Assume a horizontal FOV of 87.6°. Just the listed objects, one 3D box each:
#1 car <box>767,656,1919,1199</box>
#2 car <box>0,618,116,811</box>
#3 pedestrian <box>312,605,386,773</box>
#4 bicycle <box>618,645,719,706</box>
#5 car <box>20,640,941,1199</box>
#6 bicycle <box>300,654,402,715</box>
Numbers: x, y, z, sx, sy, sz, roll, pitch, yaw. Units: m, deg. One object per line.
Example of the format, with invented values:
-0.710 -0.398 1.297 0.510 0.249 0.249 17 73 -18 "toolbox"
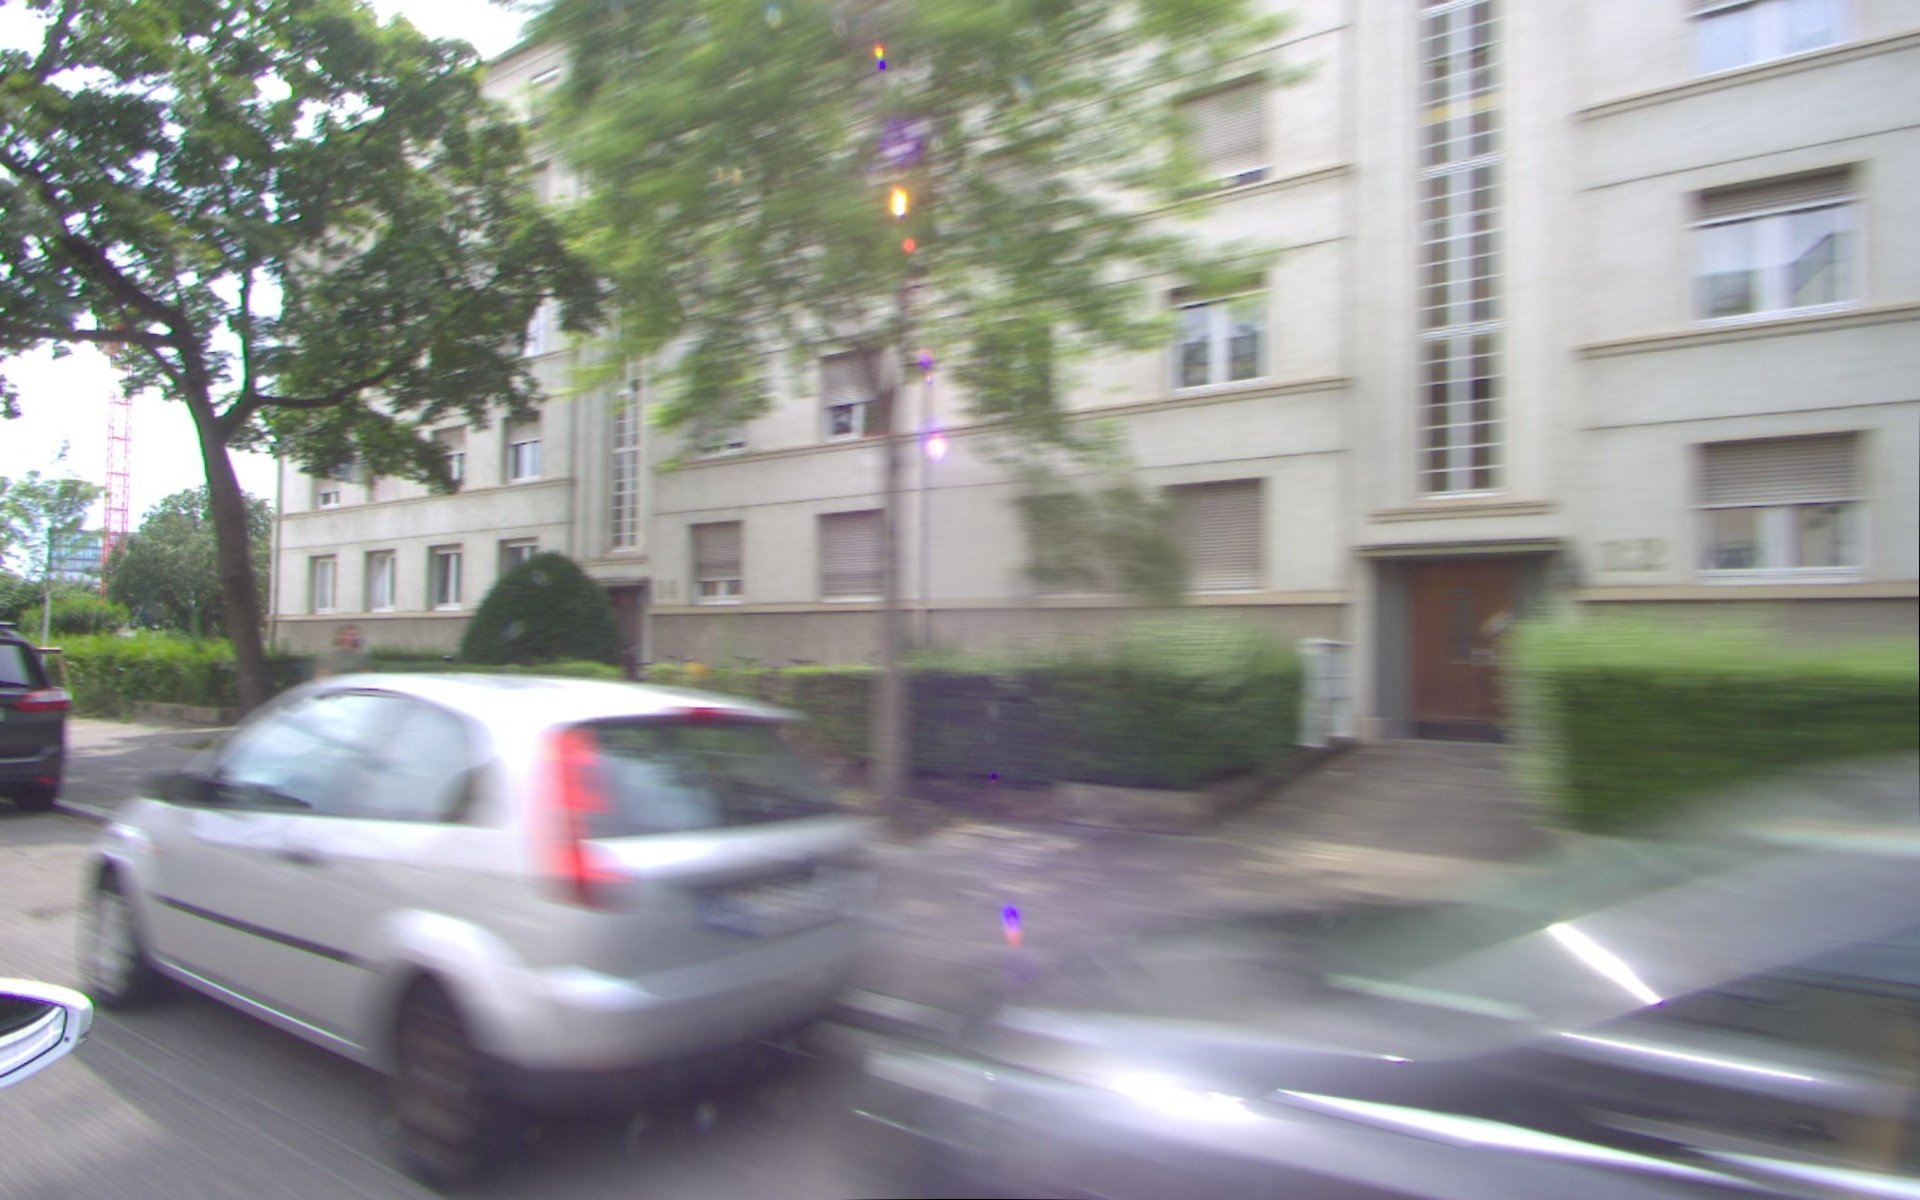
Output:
1.925 0.887 1.405 4.326 1.487 1.617 -1 -4 30 "car"
-10.735 1.008 9.903 5.246 1.681 1.927 -1 -5 30 "car"
-6.959 0.996 11.412 0.516 1.851 0.521 0 -1 34 "pedestrian"
-6.044 1.537 20.702 2.216 1.126 0.707 0 -2 33 "bicycle"
-2.199 0.961 4.257 3.979 1.474 1.657 -1 -4 33 "car"
-9.924 1.354 16.366 0.505 0.928 1.386 1 -2 20 "bicycle"
